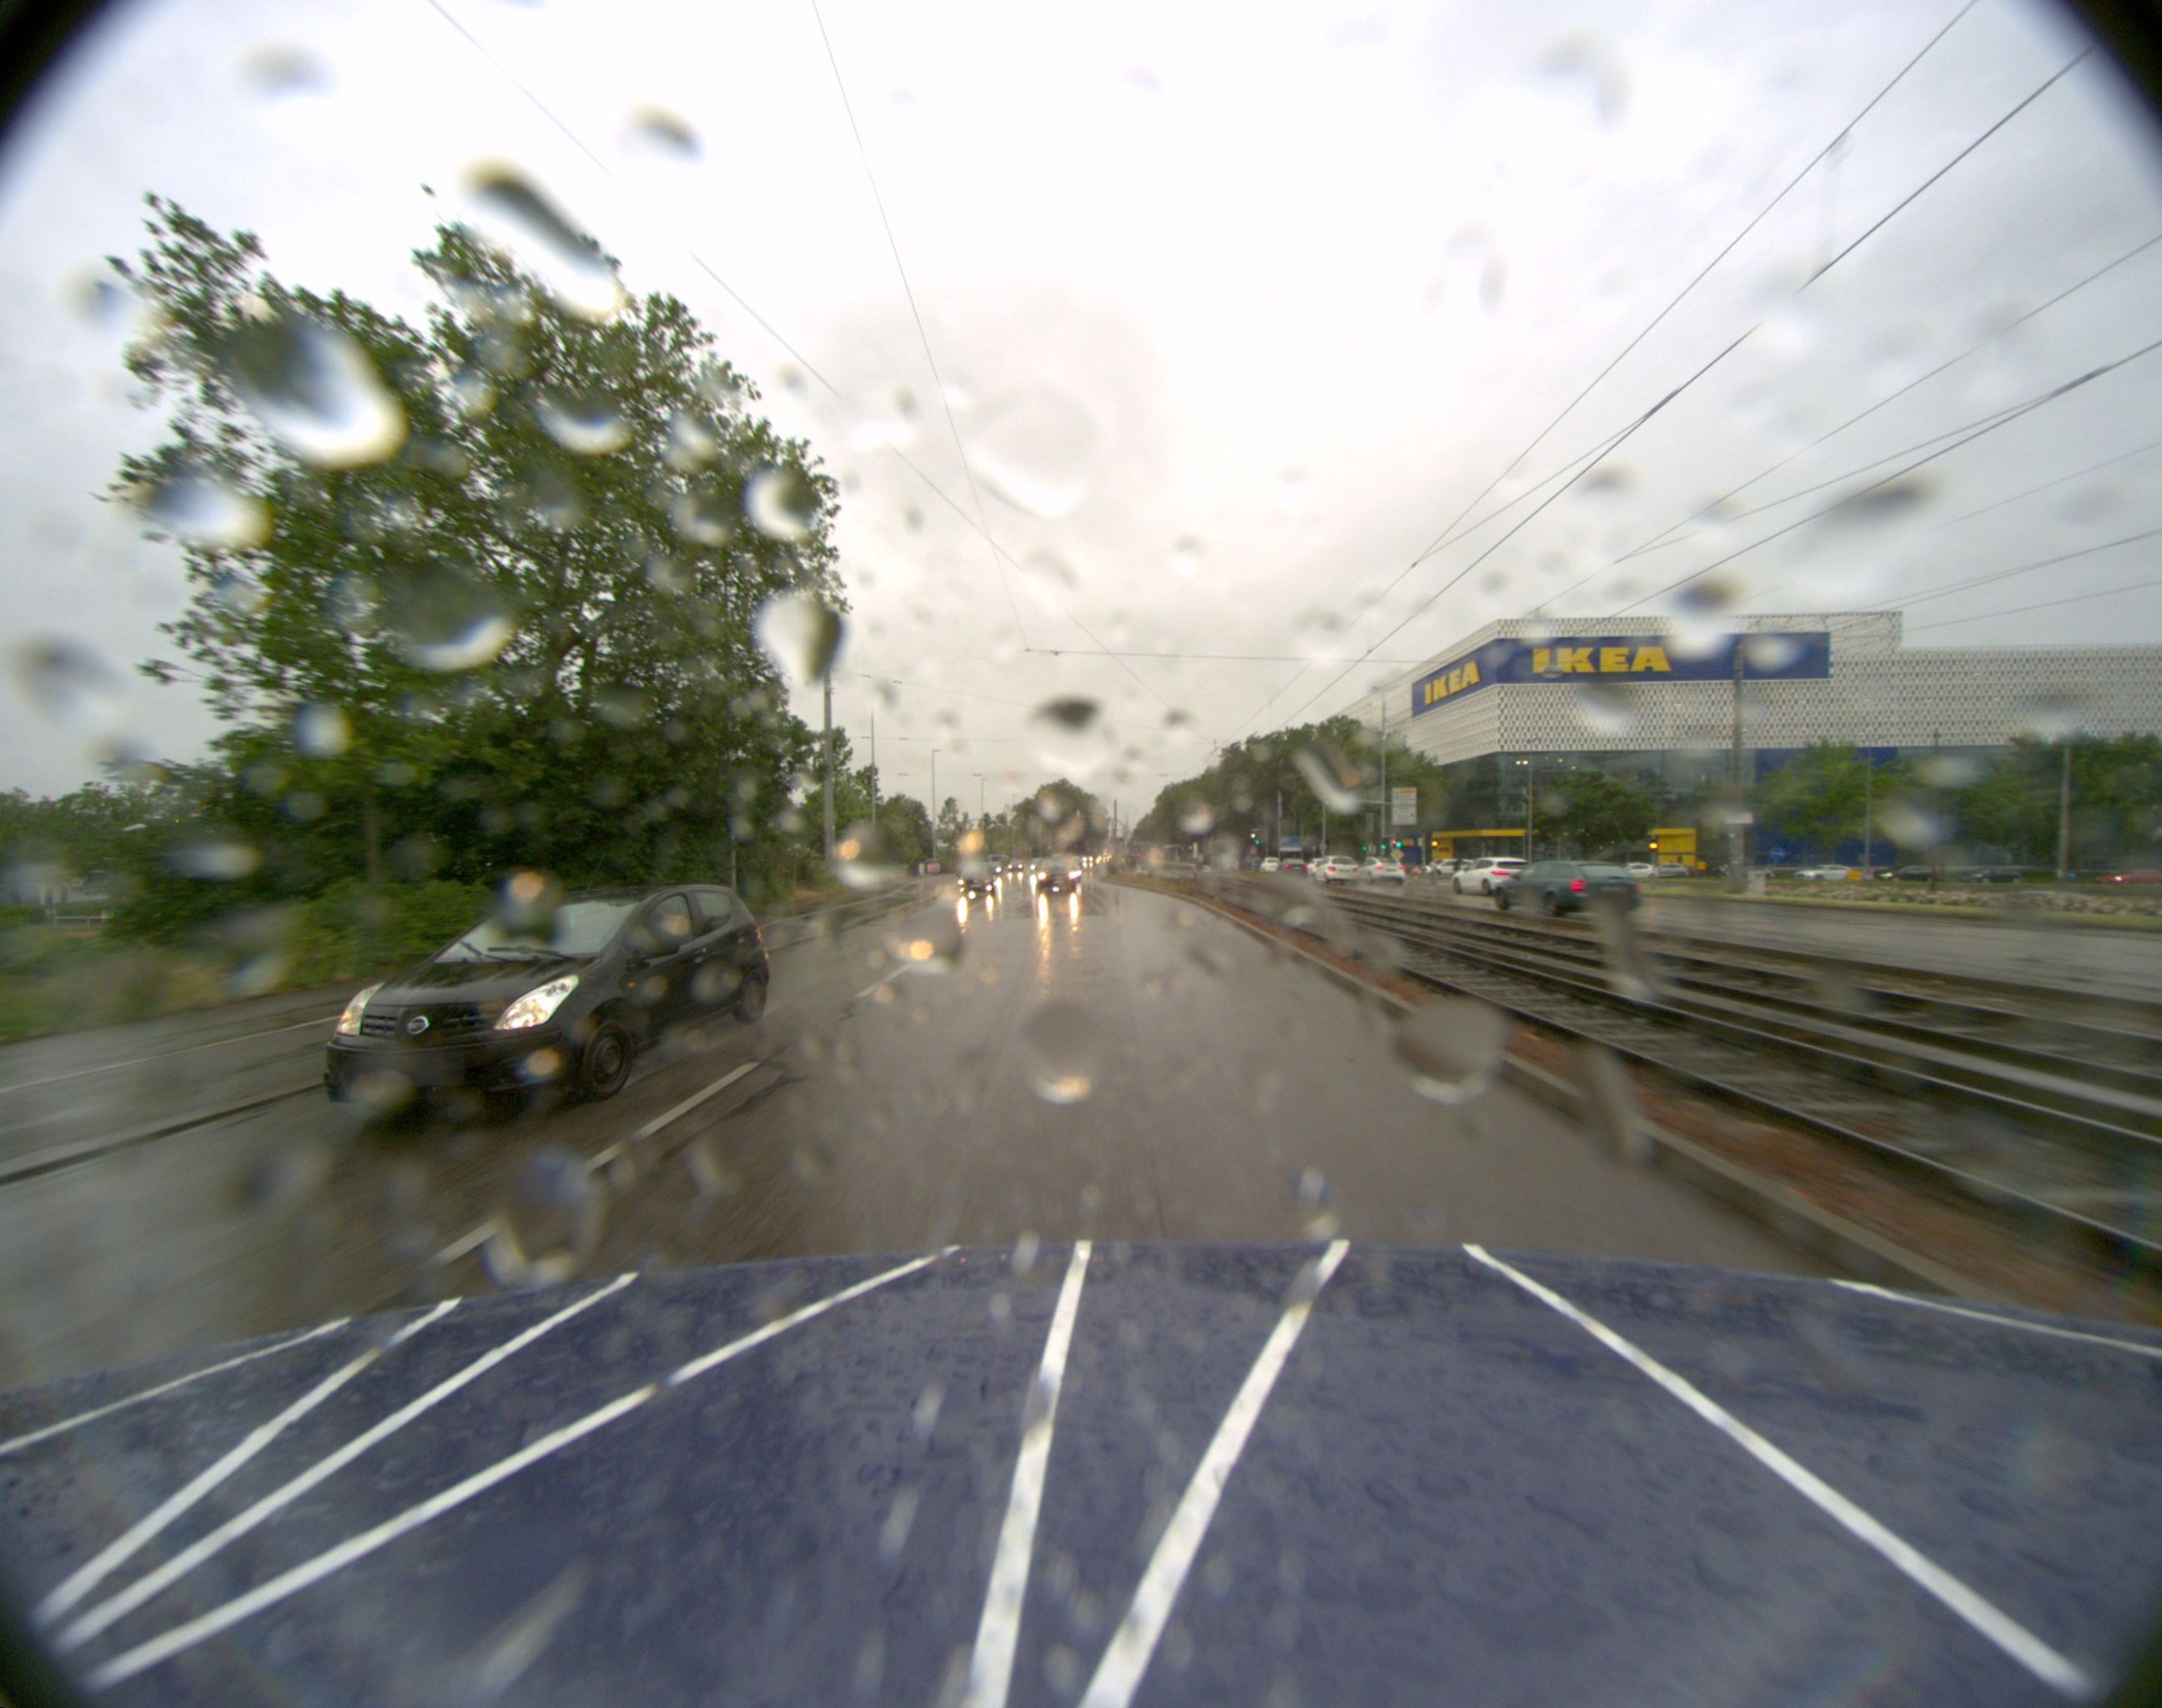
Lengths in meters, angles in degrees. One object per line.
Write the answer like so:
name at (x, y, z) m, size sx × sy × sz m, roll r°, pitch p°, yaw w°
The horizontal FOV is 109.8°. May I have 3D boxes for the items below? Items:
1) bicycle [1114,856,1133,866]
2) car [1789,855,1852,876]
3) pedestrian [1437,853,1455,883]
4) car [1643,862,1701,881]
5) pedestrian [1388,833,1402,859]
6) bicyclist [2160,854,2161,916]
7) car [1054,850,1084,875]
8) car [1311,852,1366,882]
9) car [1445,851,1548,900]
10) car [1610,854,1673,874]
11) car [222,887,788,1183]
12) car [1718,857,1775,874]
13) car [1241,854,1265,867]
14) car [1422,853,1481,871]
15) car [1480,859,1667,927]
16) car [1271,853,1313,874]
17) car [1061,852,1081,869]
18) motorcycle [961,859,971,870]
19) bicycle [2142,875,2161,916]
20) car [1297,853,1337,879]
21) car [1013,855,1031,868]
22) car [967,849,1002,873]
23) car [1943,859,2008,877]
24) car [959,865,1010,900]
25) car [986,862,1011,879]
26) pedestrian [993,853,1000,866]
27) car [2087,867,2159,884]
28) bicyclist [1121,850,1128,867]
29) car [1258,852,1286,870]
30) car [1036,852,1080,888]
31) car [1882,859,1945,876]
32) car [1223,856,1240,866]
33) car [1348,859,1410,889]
bicycle at (4.421, 0.755, 79.605) m, size 1.870 × 1.002 × 0.670 m, roll -3°, pitch 0°, yaw 0°
car at (68.362, 1.063, 70.296) m, size 4.010 × 1.664 × 1.682 m, roll -2°, pitch 1°, yaw 5°
pedestrian at (24.725, 0.940, 51.458) m, size 0.696 × 2.002 × 0.857 m, roll -2°, pitch 1°, yaw -5°
car at (55.361, 1.635, 71.214) m, size 4.014 × 1.609 × 1.760 m, roll -2°, pitch 1°, yaw 4°
pedestrian at (27.772, -0.696, 67.169) m, size 0.919 × 2.232 × 0.990 m, roll -3°, pitch 3°, yaw 16°
bicyclist at (27.794, 0.779, 18.924) m, size 0.673 × 1.580 × 0.792 m, roll -3°, pitch 1°, yaw 2°
car at (-0.749, 0.536, 49.257) m, size 1.715 × 1.515 × 4.044 m, roll -2°, pitch -1°, yaw 2°
car at (14.678, 0.723, 43.609) m, size 1.877 × 1.564 × 4.329 m, roll -2°, pitch -1°, yaw 4°
car at (17.351, 0.830, 32.021) m, size 1.998 × 1.823 × 4.693 m, roll -1°, pitch 1°, yaw 3°
car at (50.343, 0.901, 68.264) m, size 4.105 × 1.594 × 2.000 m, roll -2°, pitch 1°, yaw 3°
car at (-4.009, 1.094, 6.327) m, size 1.777 × 1.453 × 4.091 m, roll -2°, pitch -1°, yaw -5°
car at (62.124, 1.022, 70.956) m, size 3.821 × 1.399 × 1.602 m, roll -2°, pitch 1°, yaw 5°
car at (18.413, 0.718, 81.435) m, size 1.716 × 1.242 × 4.463 m, roll -2°, pitch -1°, yaw 3°
car at (33.818, 0.742, 69.467) m, size 4.458 × 1.532 × 1.820 m, roll -2°, pitch 0°, yaw 4°
car at (12.660, 0.918, 19.989) m, size 1.998 × 1.448 × 4.672 m, roll 1°, pitch 1°, yaw 3°
car at (15.927, 0.699, 57.610) m, size 1.927 × 1.415 × 5.085 m, roll 3°, pitch 0°, yaw 4°
car at (-1.124, 0.721, 86.778) m, size 1.994 × 1.778 × 4.553 m, roll -2°, pitch 0°, yaw 2°
motorcycle at (-12.826, 1.178, 84.567) m, size 0.633 × 1.211 × 1.449 m, roll 0°, pitch 0°, yaw 14°
bicycle at (27.809, 1.069, 18.897) m, size 0.670 × 1.010 × 1.556 m, roll -3°, pitch 1°, yaw 2°
car at (19.670, 0.966, 63.451) m, size 1.998 × 1.890 × 4.791 m, roll -2°, pitch 1°, yaw 3°
car at (-7.091, 0.880, 91.869) m, size 1.715 × 1.515 × 4.178 m, roll -2°, pitch -1°, yaw 2°
car at (-6.683, 0.502, 53.034) m, size 1.715 × 1.515 × 4.044 m, roll -2°, pitch -1°, yaw 2°
car at (81.306, 1.250, 69.079) m, size 3.821 × 1.399 × 1.602 m, roll -2°, pitch 1°, yaw 5°
car at (-4.448, 1.295, 35.497) m, size 1.715 × 1.476 × 4.044 m, roll -2°, pitch -1°, yaw 2°
car at (-7.794, 1.570, 72.266) m, size 1.715 × 1.515 × 4.178 m, roll -2°, pitch -1°, yaw 2°
pedestrian at (-10.607, 0.657, 95.176) m, size 0.734 × 1.602 × 0.618 m, roll 0°, pitch 1°, yaw 2°
car at (94.409, 1.933, 68.874) m, size 3.982 × 1.399 × 1.602 m, roll -2°, pitch 1°, yaw 5°
bicyclist at (4.520, 0.457, 79.538) m, size 0.618 × 1.721 × 0.793 m, roll -3°, pitch 0°, yaw 0°
car at (17.436, 0.629, 69.514) m, size 1.716 × 1.526 × 4.049 m, roll -2°, pitch -1°, yaw 4°
car at (-1.062, 0.761, 37.044) m, size 1.876 × 1.573 × 4.043 m, roll -2°, pitch -1°, yaw 1°
car at (76.238, 1.236, 69.581) m, size 3.821 × 1.399 × 1.602 m, roll -2°, pitch 1°, yaw 5°
car at (19.961, 0.928, 100.844) m, size 1.716 × 1.242 × 4.049 m, roll -2°, pitch -1°, yaw 4°
car at (18.099, 1.151, 46.443) m, size 1.912 × 1.597 × 4.842 m, roll -4°, pitch 0°, yaw 1°
